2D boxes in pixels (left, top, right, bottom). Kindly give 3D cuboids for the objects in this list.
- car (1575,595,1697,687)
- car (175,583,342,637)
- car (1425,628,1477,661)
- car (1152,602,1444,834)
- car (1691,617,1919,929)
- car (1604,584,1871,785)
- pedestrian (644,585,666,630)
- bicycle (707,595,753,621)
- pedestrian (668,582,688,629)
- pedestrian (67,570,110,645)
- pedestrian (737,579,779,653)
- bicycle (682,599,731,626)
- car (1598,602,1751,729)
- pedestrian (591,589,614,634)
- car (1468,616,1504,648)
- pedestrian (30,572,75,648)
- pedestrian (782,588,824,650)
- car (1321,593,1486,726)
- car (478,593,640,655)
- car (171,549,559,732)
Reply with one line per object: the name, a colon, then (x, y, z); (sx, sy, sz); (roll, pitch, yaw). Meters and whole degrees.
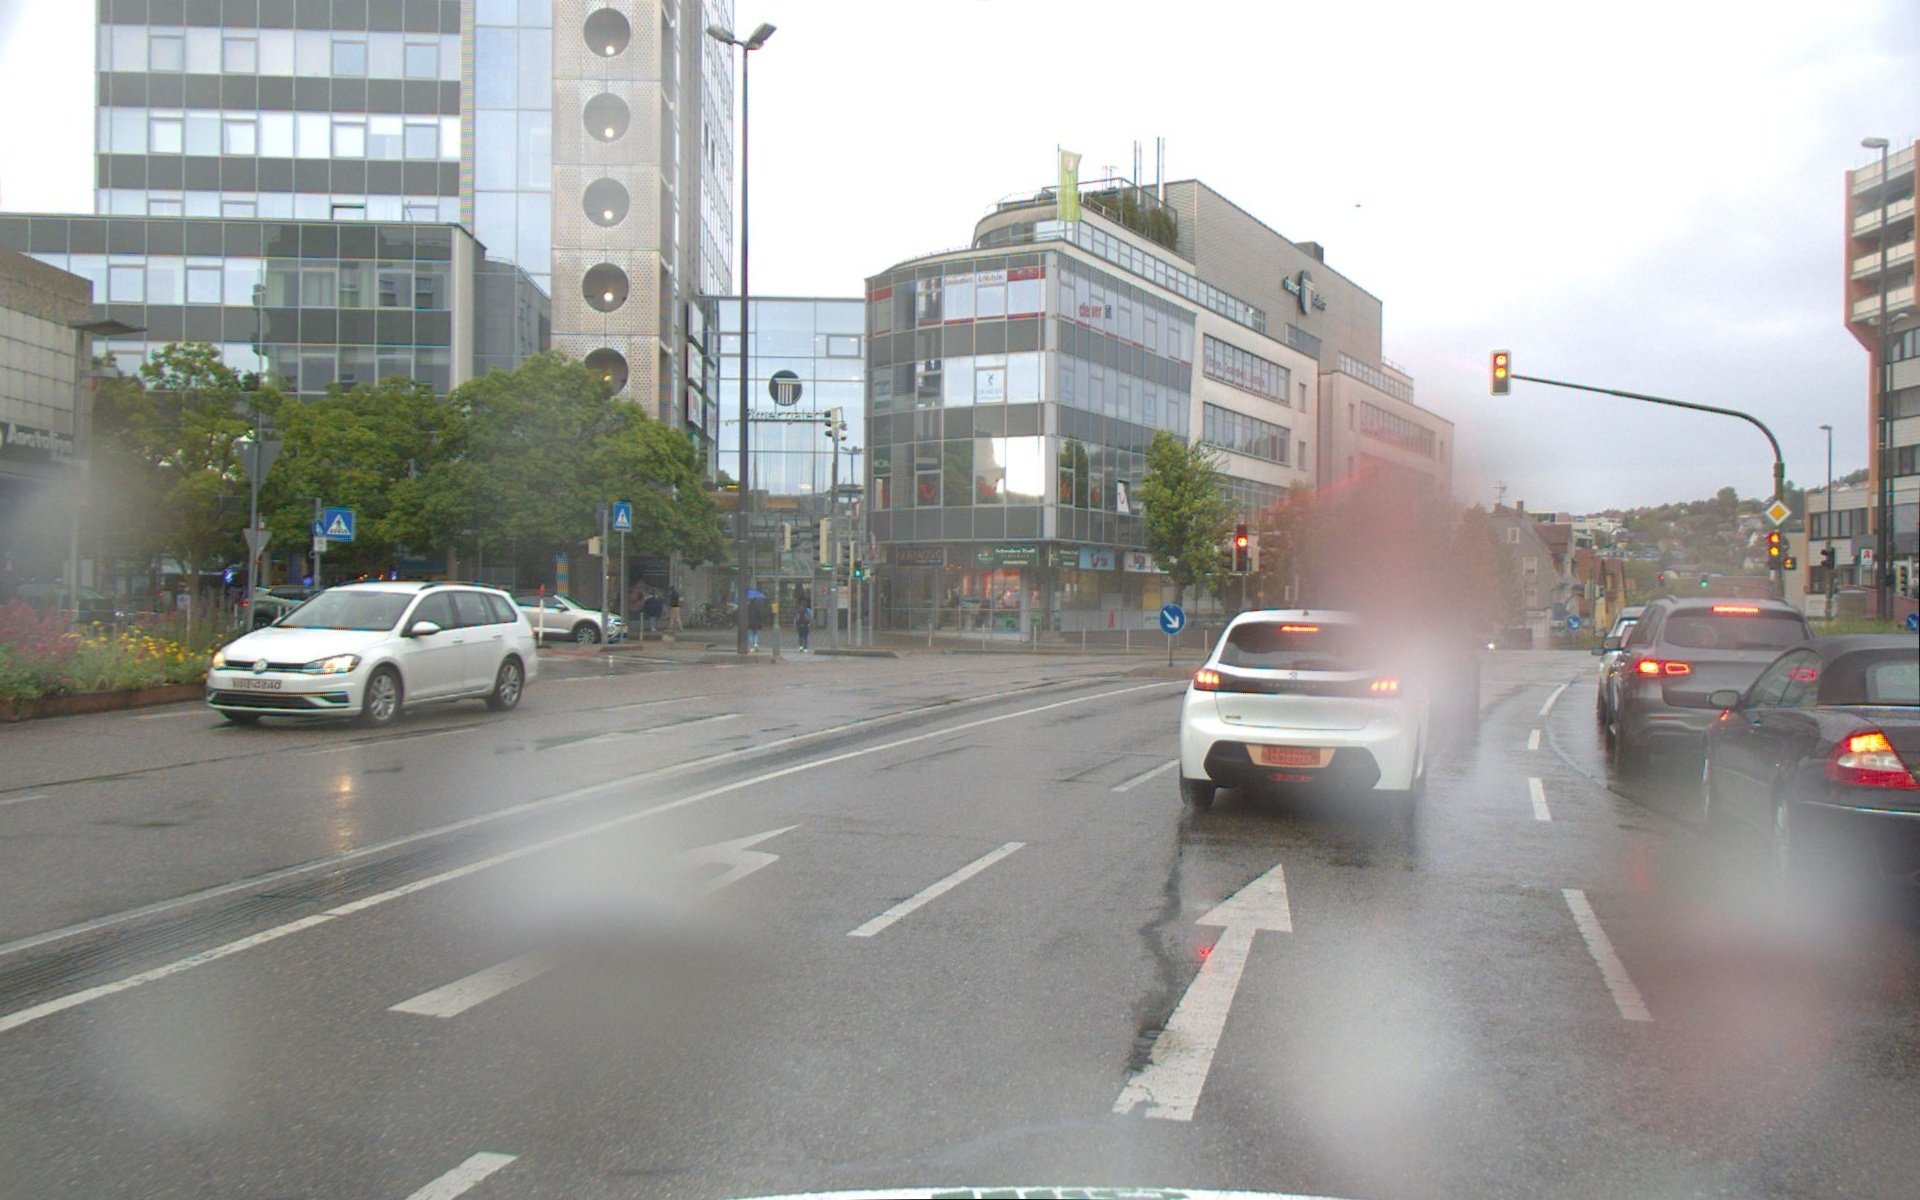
car: (11.807, 0.658, 29.019); (1.872, 1.425, 3.458); (0, 1, 21)
car: (-20.085, 0.278, 47.466); (3.960, 1.445, 1.871); (1, 0, 5)
car: (26.761, 2.415, 90.038); (1.740, 1.622, 4.580); (-4, -3, 28)
car: (2.807, 0.784, 13.052); (1.832, 1.487, 3.875); (1, 0, 18)
car: (5.561, 0.848, 9.810); (1.597, 1.410, 4.518); (1, 0, 16)
car: (7.452, 0.710, 16.257); (1.861, 1.649, 4.337); (1, 0, 19)
pedestrian: (-13.165, 0.318, 71.394); (0.814, 1.901, 0.753); (0, 0, -2)
bicycle: (-11.481, 0.407, 82.591); (2.228, 1.268, 0.676); (0, -1, -4)
pedestrian: (-12.218, 0.238, 71.672); (0.747, 2.049, 0.714); (1, 0, -2)
pedestrian: (-16.234, 0.134, 30.817); (0.487, 1.371, 0.535); (1, 0, 34)
pedestrian: (-5.740, 0.454, 46.924); (1.140, 2.049, 1.326); (1, 0, -9)
bicycle: (-11.876, 0.591, 77.597); (2.228, 1.268, 0.676); (0, -1, -4)
car: (9.786, 0.823, 22.897); (1.600, 1.473, 4.270); (2, 1, 19)
pedestrian: (-15.250, 0.489, 70.504); (0.743, 1.901, 0.825); (0, -1, -29)
car: (30.633, 1.856, 96.310); (1.478, 1.755, 3.652); (1, 0, 26)
pedestrian: (-16.621, 0.187, 30.297); (0.487, 1.371, 0.536); (1, 0, 32)
pedestrian: (-4.700, 0.570, 49.555); (0.829, 1.851, 1.022); (0, -1, 30)
car: (5.913, 0.694, 21.779); (1.778, 1.556, 3.813); (1, 1, 20)
car: (-11.238, 0.663, 46.596); (4.108, 1.623, 1.869); (1, 0, -2)
car: (-6.279, 0.380, 18.111); (1.845, 1.712, 4.509); (1, 0, 12)
